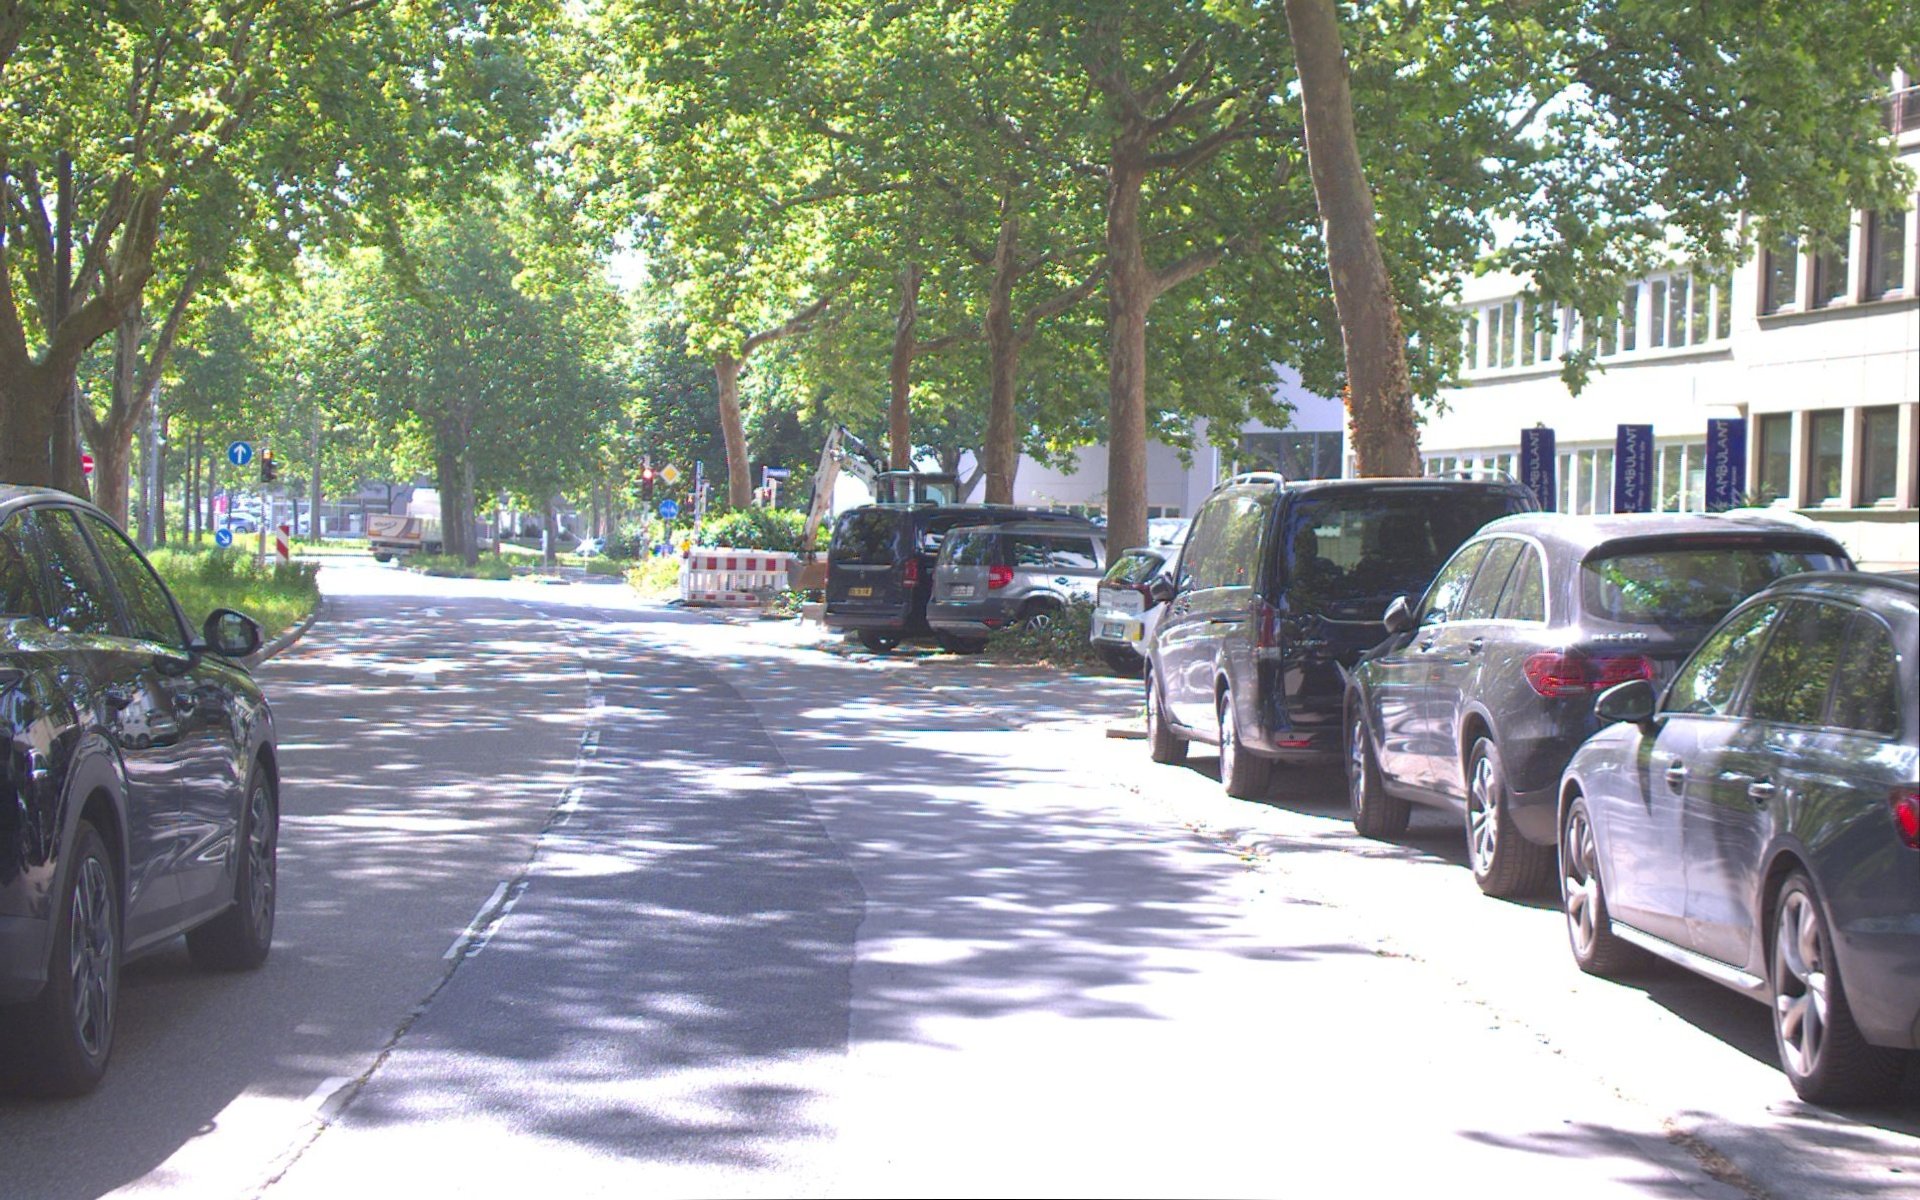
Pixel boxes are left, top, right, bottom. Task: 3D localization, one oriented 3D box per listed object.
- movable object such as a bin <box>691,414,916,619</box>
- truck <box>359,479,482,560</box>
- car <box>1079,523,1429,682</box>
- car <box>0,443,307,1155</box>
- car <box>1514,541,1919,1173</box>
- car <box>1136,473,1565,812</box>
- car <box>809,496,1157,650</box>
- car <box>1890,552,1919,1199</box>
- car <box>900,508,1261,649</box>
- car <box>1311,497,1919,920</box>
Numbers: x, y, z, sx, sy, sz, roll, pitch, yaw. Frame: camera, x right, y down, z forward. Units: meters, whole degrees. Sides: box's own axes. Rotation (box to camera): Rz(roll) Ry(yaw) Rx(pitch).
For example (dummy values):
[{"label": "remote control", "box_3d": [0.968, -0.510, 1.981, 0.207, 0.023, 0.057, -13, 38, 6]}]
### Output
[{"label": "movable object such as a bin", "box_3d": [-2.609, -1.380, 56.761, 2.328, 3.230, 3.431, 1, 1, -30]}, {"label": "truck", "box_3d": [-25.441, -3.780, 162.169, 5.525, 3.665, 2.000, 2, 1, -6]}, {"label": "car", "box_3d": [3.225, 0.013, 38.105, 3.551, 1.634, 1.659, 1, 1, -7]}, {"label": "car", "box_3d": [-3.230, 0.431, 10.327, 1.872, 1.690, 4.436, 0, 1, -3]}, {"label": "car", "box_3d": [2.996, 0.596, 10.443, 1.706, 1.482, 4.485, 2, 1, -2]}, {"label": "car", "box_3d": [2.288, 0.186, 21.409, 1.706, 1.835, 4.727, 1, 1, -5]}, {"label": "car", "box_3d": [0.299, -0.350, 44.618, 4.098, 1.873, 1.785, 1, 1, -22]}, {"label": "car", "box_3d": [2.907, 0.690, 5.202, 1.707, 1.450, 4.656, 2, 1, 0]}, {"label": "car", "box_3d": [1.487, -0.265, 42.673, 4.098, 1.627, 1.713, 1, 1, -20]}, {"label": "car", "box_3d": [2.930, 0.390, 16.075, 1.706, 1.664, 4.535, 1, 1, -5]}]
